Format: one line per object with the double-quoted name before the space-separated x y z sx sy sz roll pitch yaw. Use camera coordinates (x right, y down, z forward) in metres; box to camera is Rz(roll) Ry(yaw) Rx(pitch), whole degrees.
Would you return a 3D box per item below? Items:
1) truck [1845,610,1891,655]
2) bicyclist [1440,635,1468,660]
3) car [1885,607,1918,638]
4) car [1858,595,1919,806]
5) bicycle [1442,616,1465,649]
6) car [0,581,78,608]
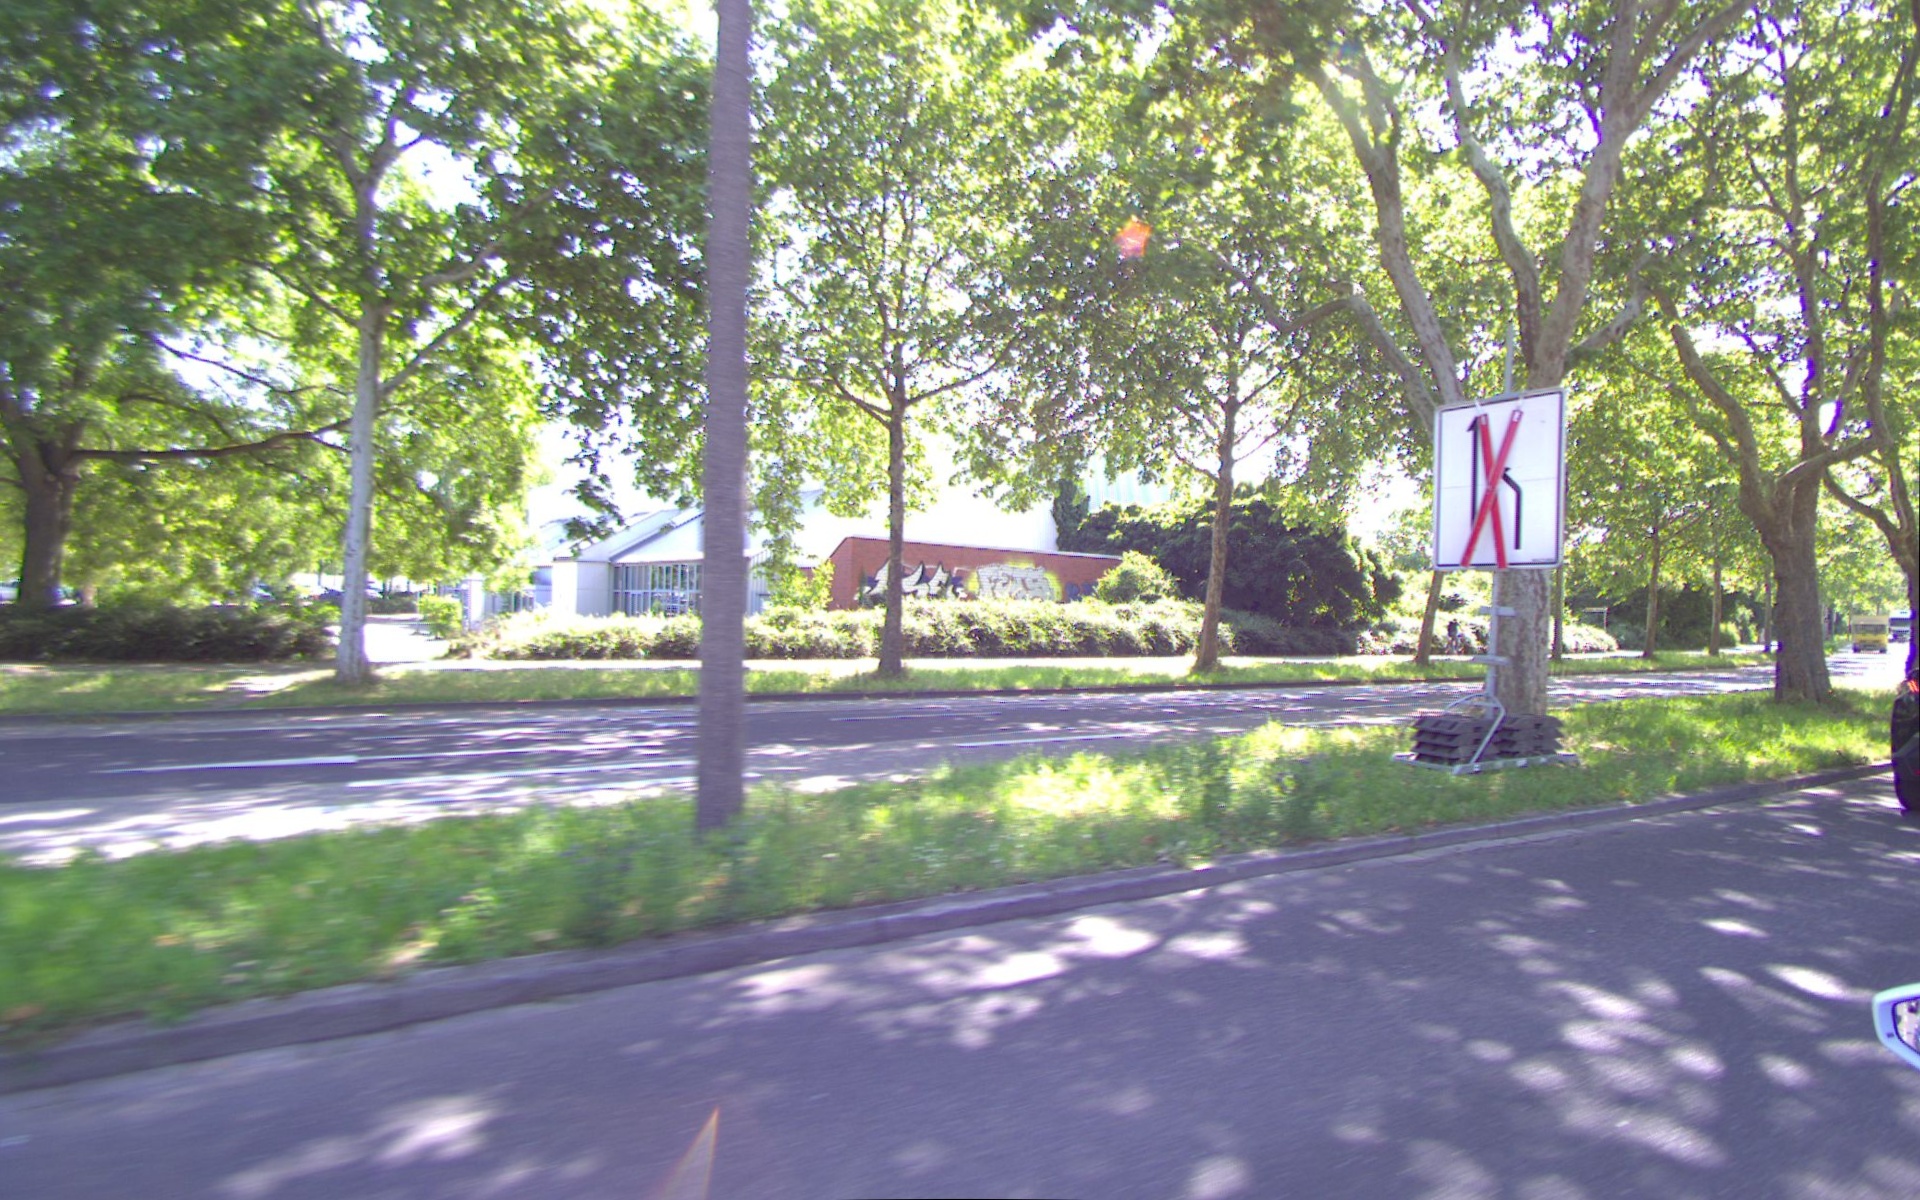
"truck" 76.927 2.692 85.054 2.425 3.496 7.054 3 2 44
"bicyclist" 21.201 2.055 43.098 1.410 1.027 0.426 2 -1 -33
"car" 113.767 2.709 121.364 7.049 3.496 2.426 1 2 -44
"car" 9.967 0.886 8.887 4.386 1.718 1.862 2 -2 -32
"bicycle" 21.165 1.395 43.069 0.945 1.403 0.426 2 -1 -33
"car" -58.465 -0.341 63.515 3.919 1.511 1.819 2 -1 5
